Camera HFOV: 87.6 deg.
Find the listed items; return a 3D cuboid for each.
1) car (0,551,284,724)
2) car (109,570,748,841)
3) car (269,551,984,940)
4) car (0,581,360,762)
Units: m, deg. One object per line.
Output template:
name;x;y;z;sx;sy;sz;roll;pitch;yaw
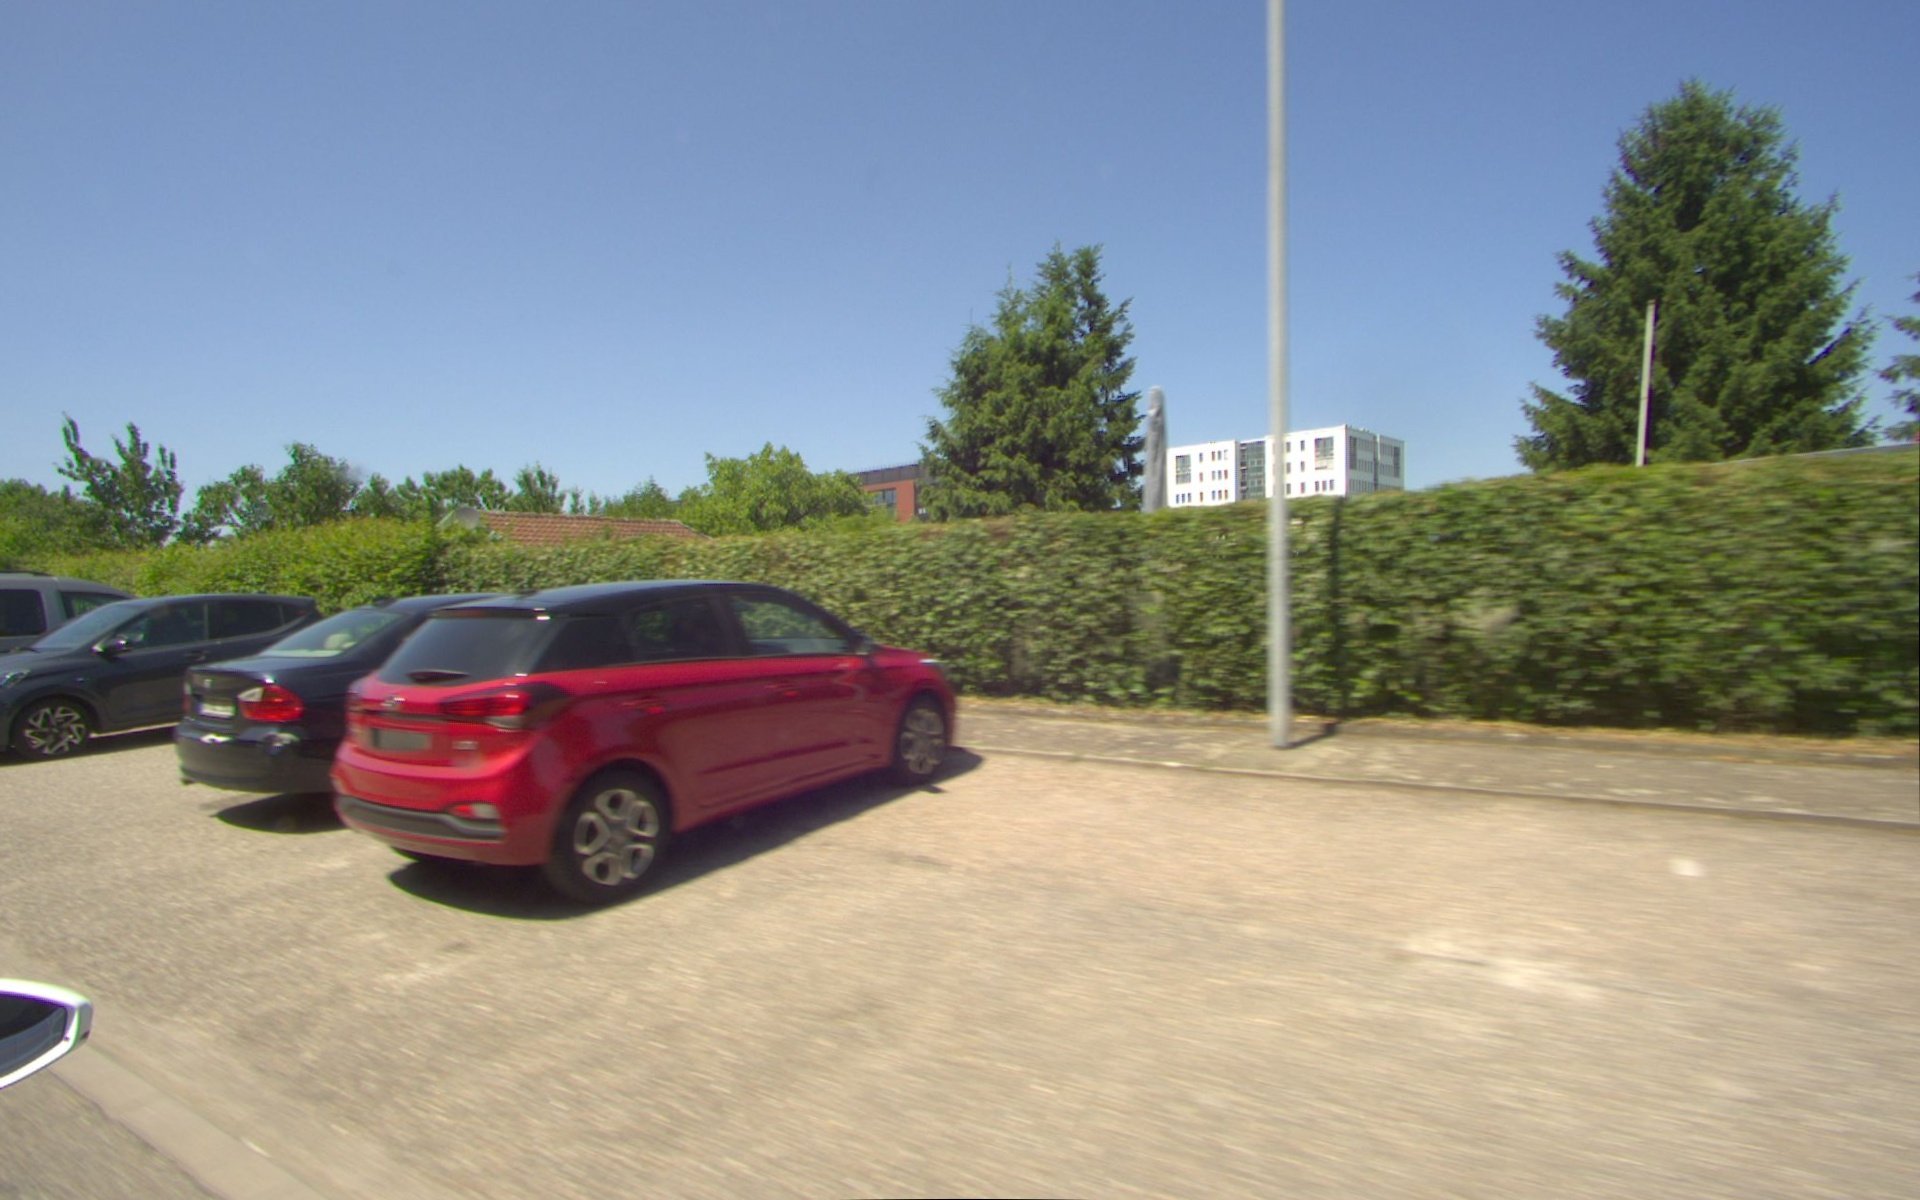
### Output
car;-11.414;0.429;12.351;1.968;1.875;4.605;0;4;34
car;-3.852;0.569;8.111;1.813;1.408;4.193;0;4;30
car;-1.663;0.528;6.262;1.819;1.500;3.906;0;4;33
car;-8.788;0.632;10.732;1.813;1.523;3.570;0;3;28
